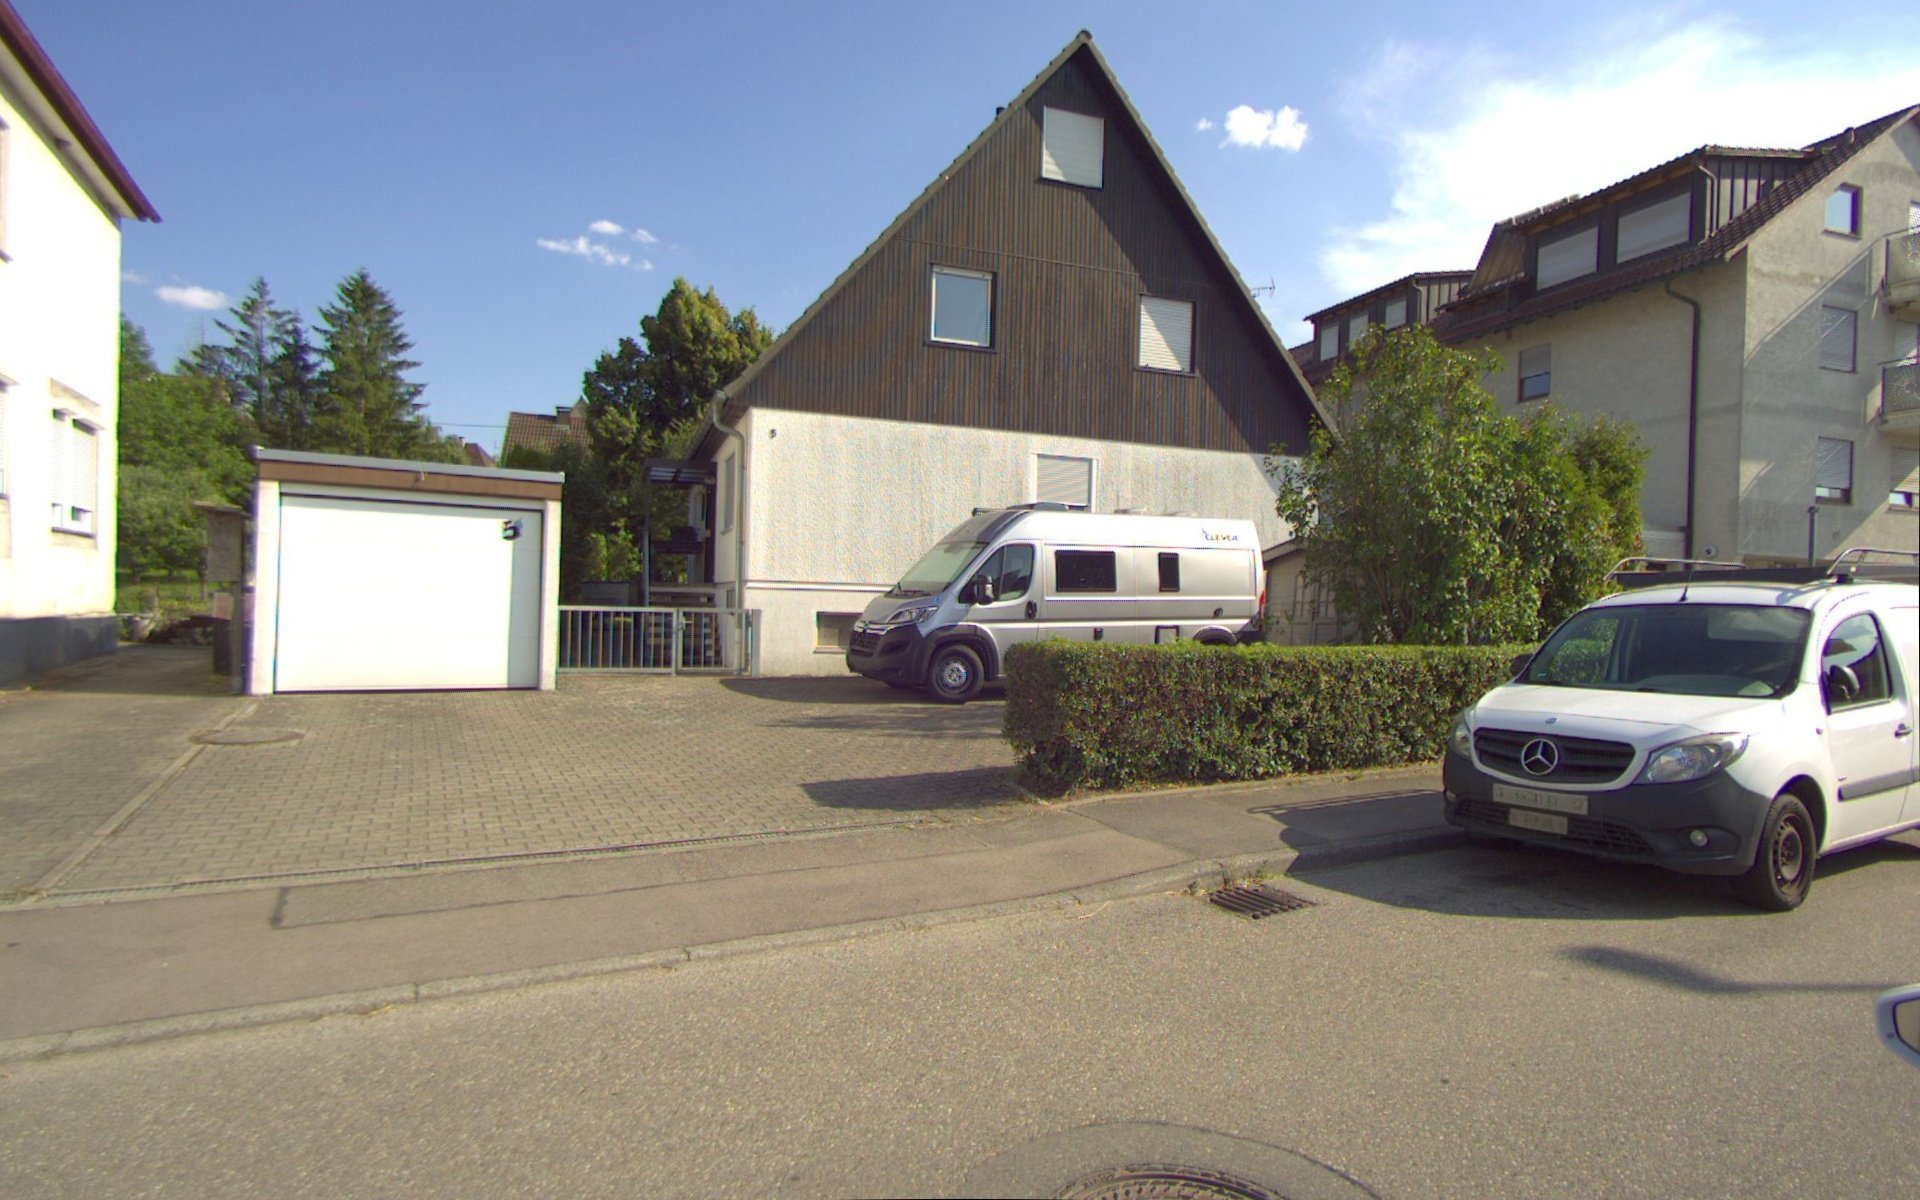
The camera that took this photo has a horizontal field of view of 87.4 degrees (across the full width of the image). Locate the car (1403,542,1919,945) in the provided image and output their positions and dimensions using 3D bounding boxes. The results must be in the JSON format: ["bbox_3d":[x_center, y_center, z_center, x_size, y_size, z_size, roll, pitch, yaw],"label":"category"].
[{"bbox_3d":[4.952,0.724,6.523,4.142,1.897,1.708,1,-1,-30],"label":"car"}]

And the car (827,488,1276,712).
[{"bbox_3d":[1.364,0.028,14.086,6.014,2.631,2.151,1,1,-26],"label":"car"}]

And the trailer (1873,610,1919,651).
[{"bbox_3d":[22.348,0.763,22.578,2.843,0.867,1.330,4,1,-14],"label":"trailer"}]

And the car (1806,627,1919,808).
[{"bbox_3d":[9.521,0.999,9.103,3.789,1.471,1.665,1,-1,-30],"label":"car"}]

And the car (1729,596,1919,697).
[{"bbox_3d":[17.560,0.874,19.364,1.735,1.559,3.982,1,4,-19],"label":"car"}]
